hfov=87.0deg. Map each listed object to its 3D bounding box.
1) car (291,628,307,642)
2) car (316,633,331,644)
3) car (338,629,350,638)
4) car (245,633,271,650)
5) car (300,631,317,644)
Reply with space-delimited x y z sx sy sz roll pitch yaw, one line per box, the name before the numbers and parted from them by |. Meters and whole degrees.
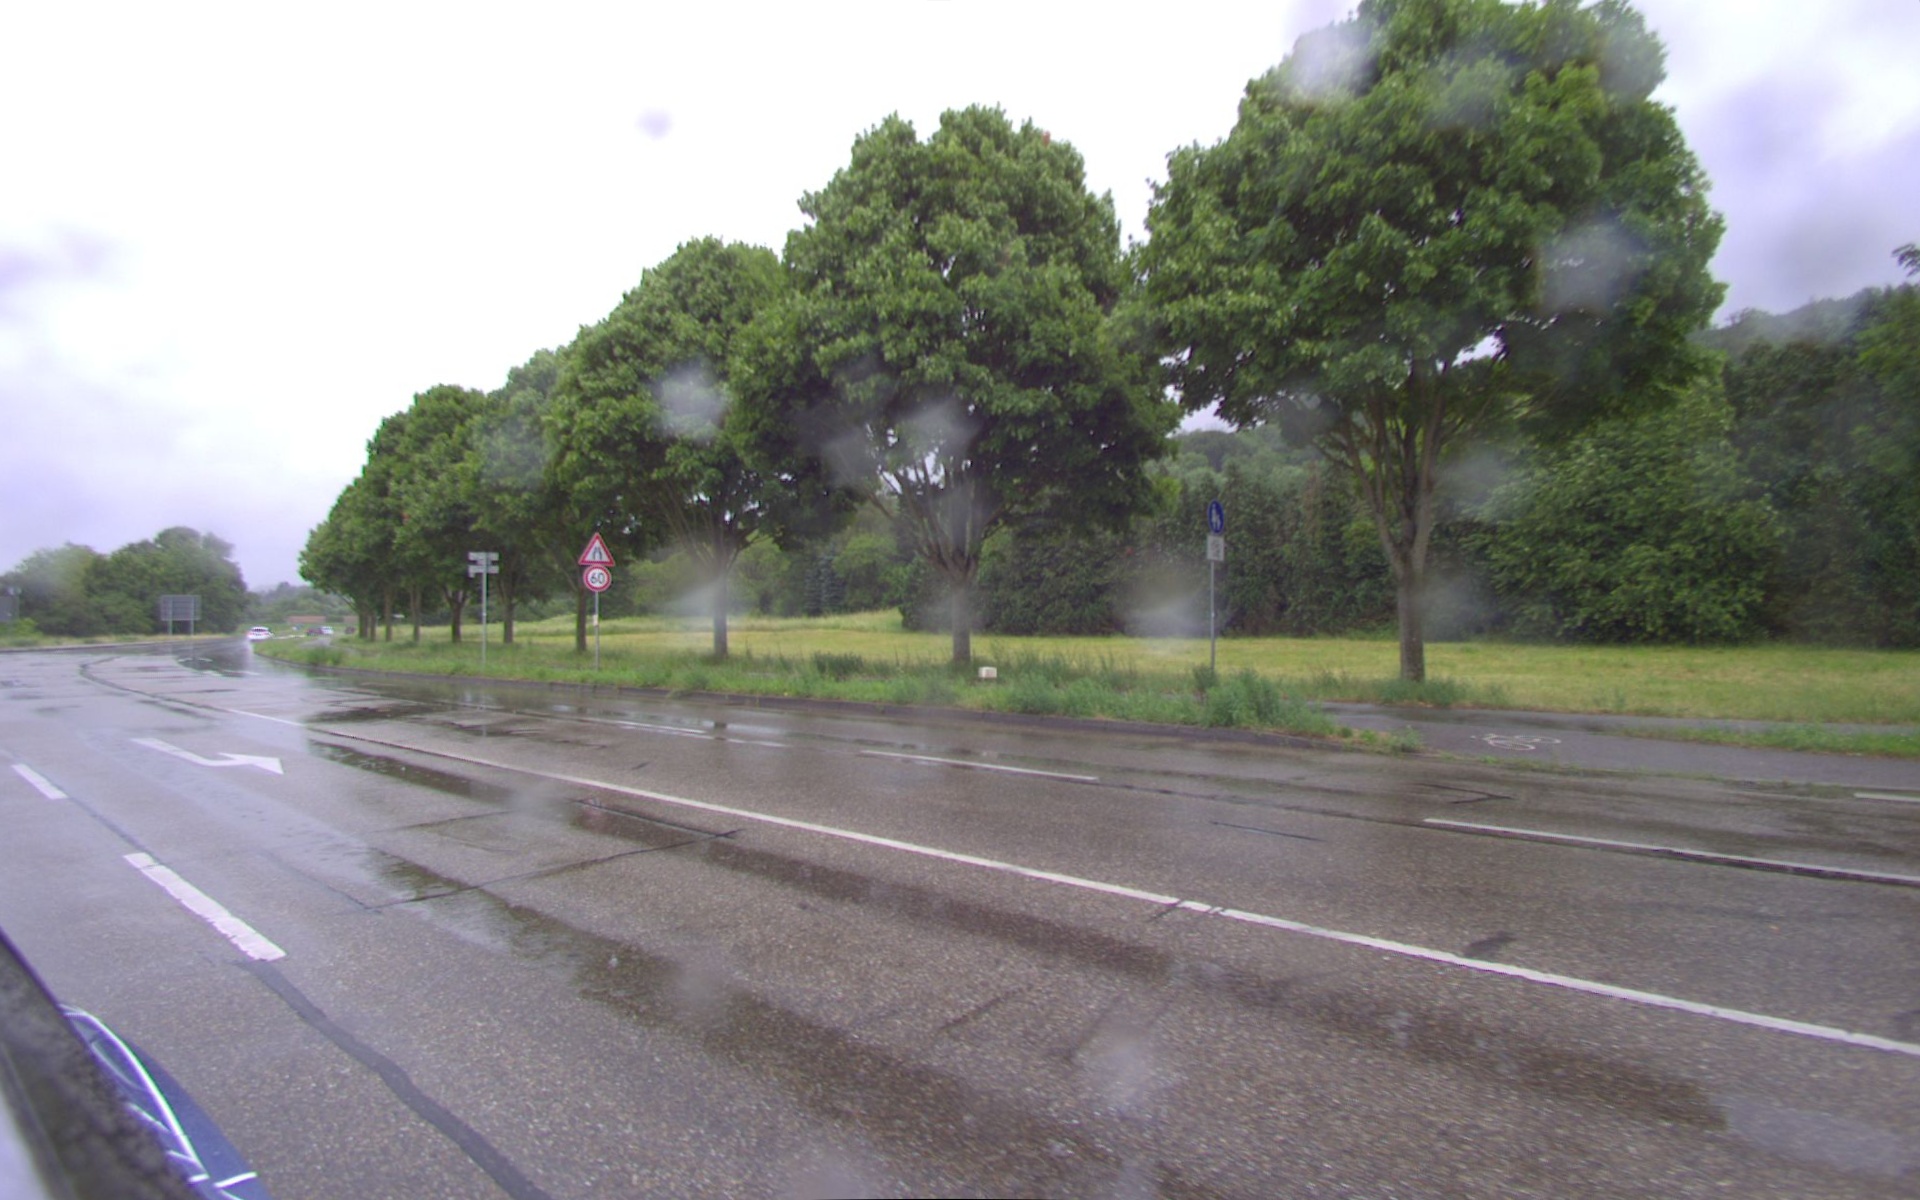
car | -95.162 5.034 145.712 1.715 2.006 4.023 2 -2 -30
car | -95.908 5.798 152.625 1.715 1.498 4.023 2 -2 -30
car | -120.962 6.584 198.762 1.897 1.756 4.301 2 -2 -31
car | -68.758 4.093 99.135 1.853 1.585 4.657 2 -2 -33
car | -89.259 5.132 138.694 1.859 1.599 4.129 -2 0 -34
